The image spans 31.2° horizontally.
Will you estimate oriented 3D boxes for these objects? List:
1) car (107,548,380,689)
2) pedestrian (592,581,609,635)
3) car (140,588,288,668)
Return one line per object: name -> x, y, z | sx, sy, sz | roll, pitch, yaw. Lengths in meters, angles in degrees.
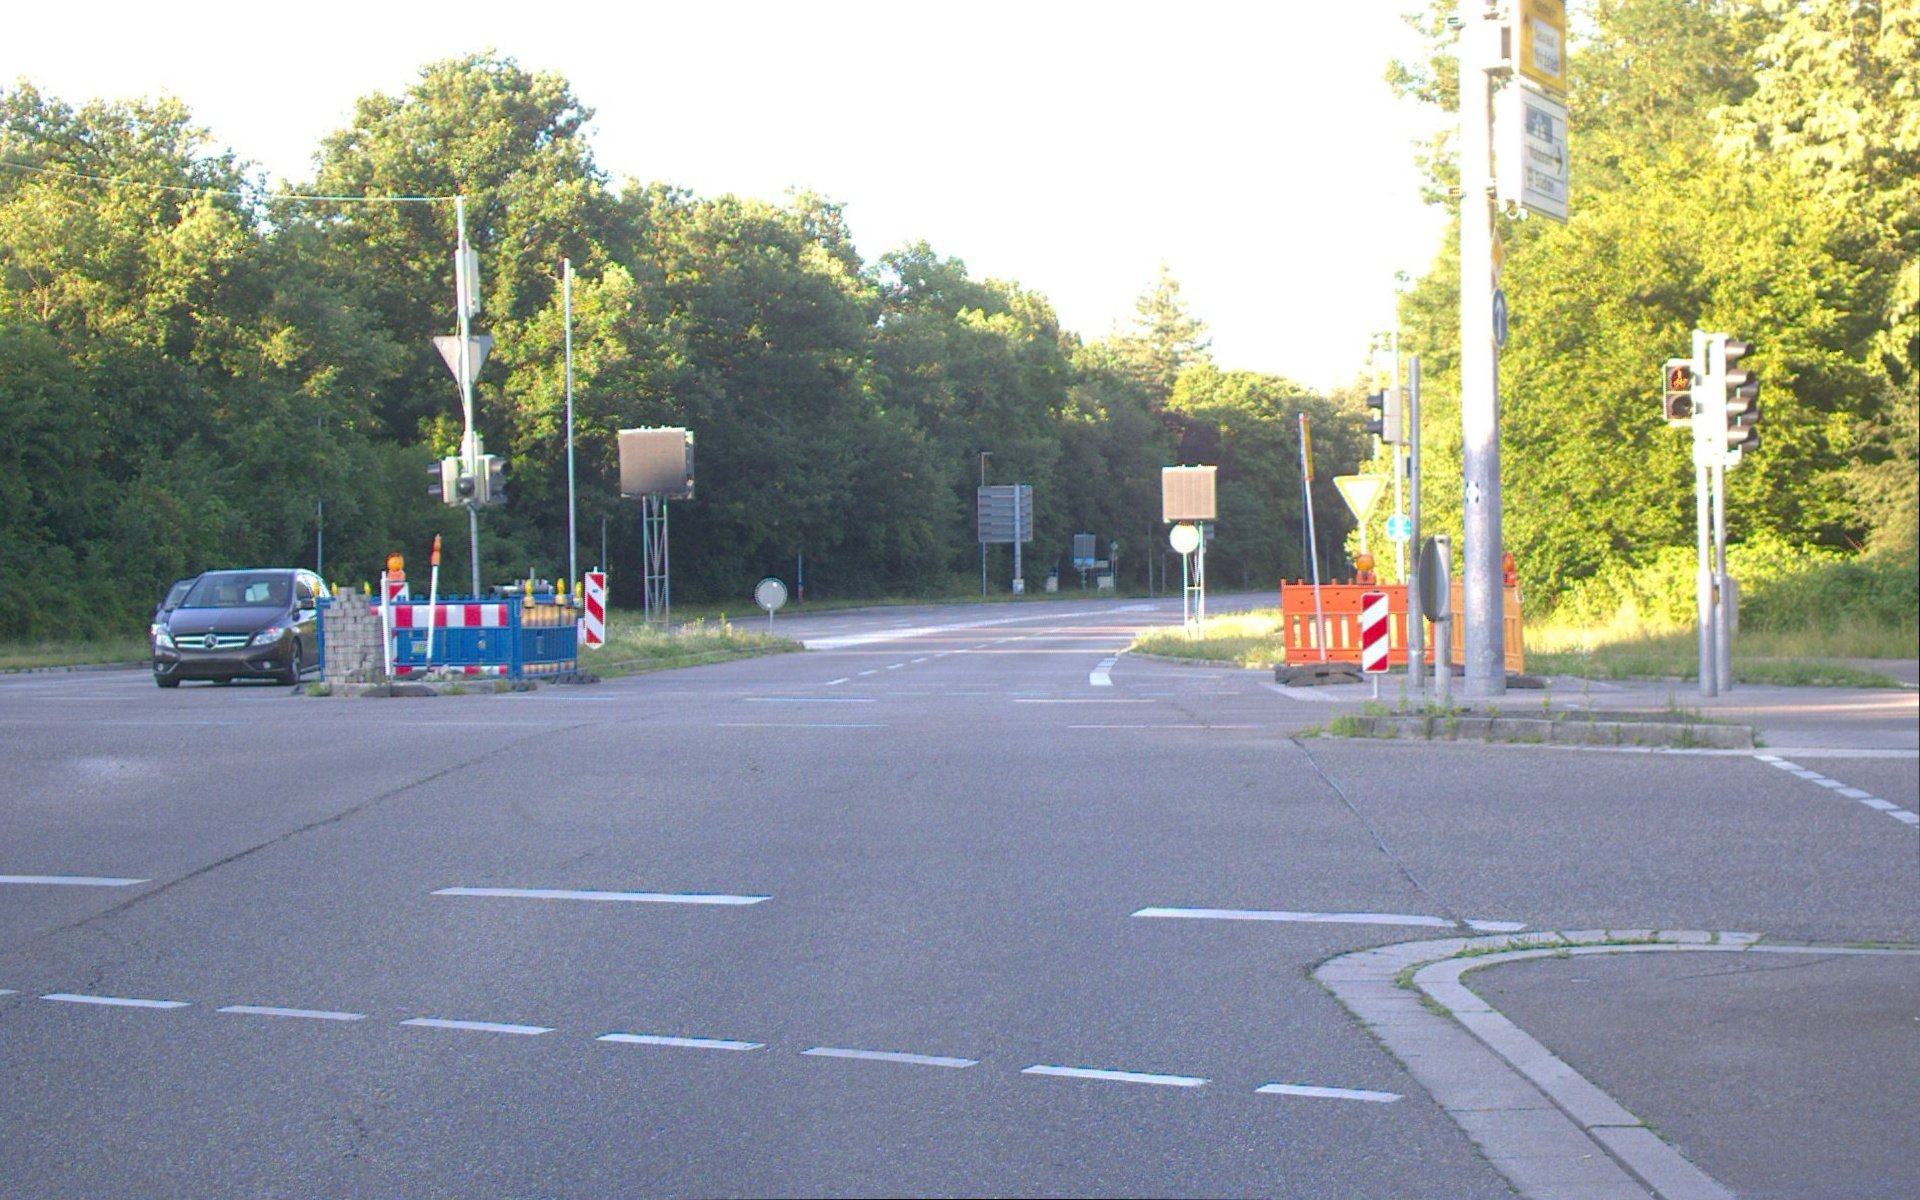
car -> -9.267, 0.208, 44.814 | 1.994, 1.634, 3.998 | -2, 2, 12
pedestrian -> -13.466, 0.302, 128.832 | 0.521, 2.007, 0.600 | 1, 0, -1
car -> -16.103, 0.577, 74.387 | 1.994, 1.634, 3.999 | 0, 1, 6
